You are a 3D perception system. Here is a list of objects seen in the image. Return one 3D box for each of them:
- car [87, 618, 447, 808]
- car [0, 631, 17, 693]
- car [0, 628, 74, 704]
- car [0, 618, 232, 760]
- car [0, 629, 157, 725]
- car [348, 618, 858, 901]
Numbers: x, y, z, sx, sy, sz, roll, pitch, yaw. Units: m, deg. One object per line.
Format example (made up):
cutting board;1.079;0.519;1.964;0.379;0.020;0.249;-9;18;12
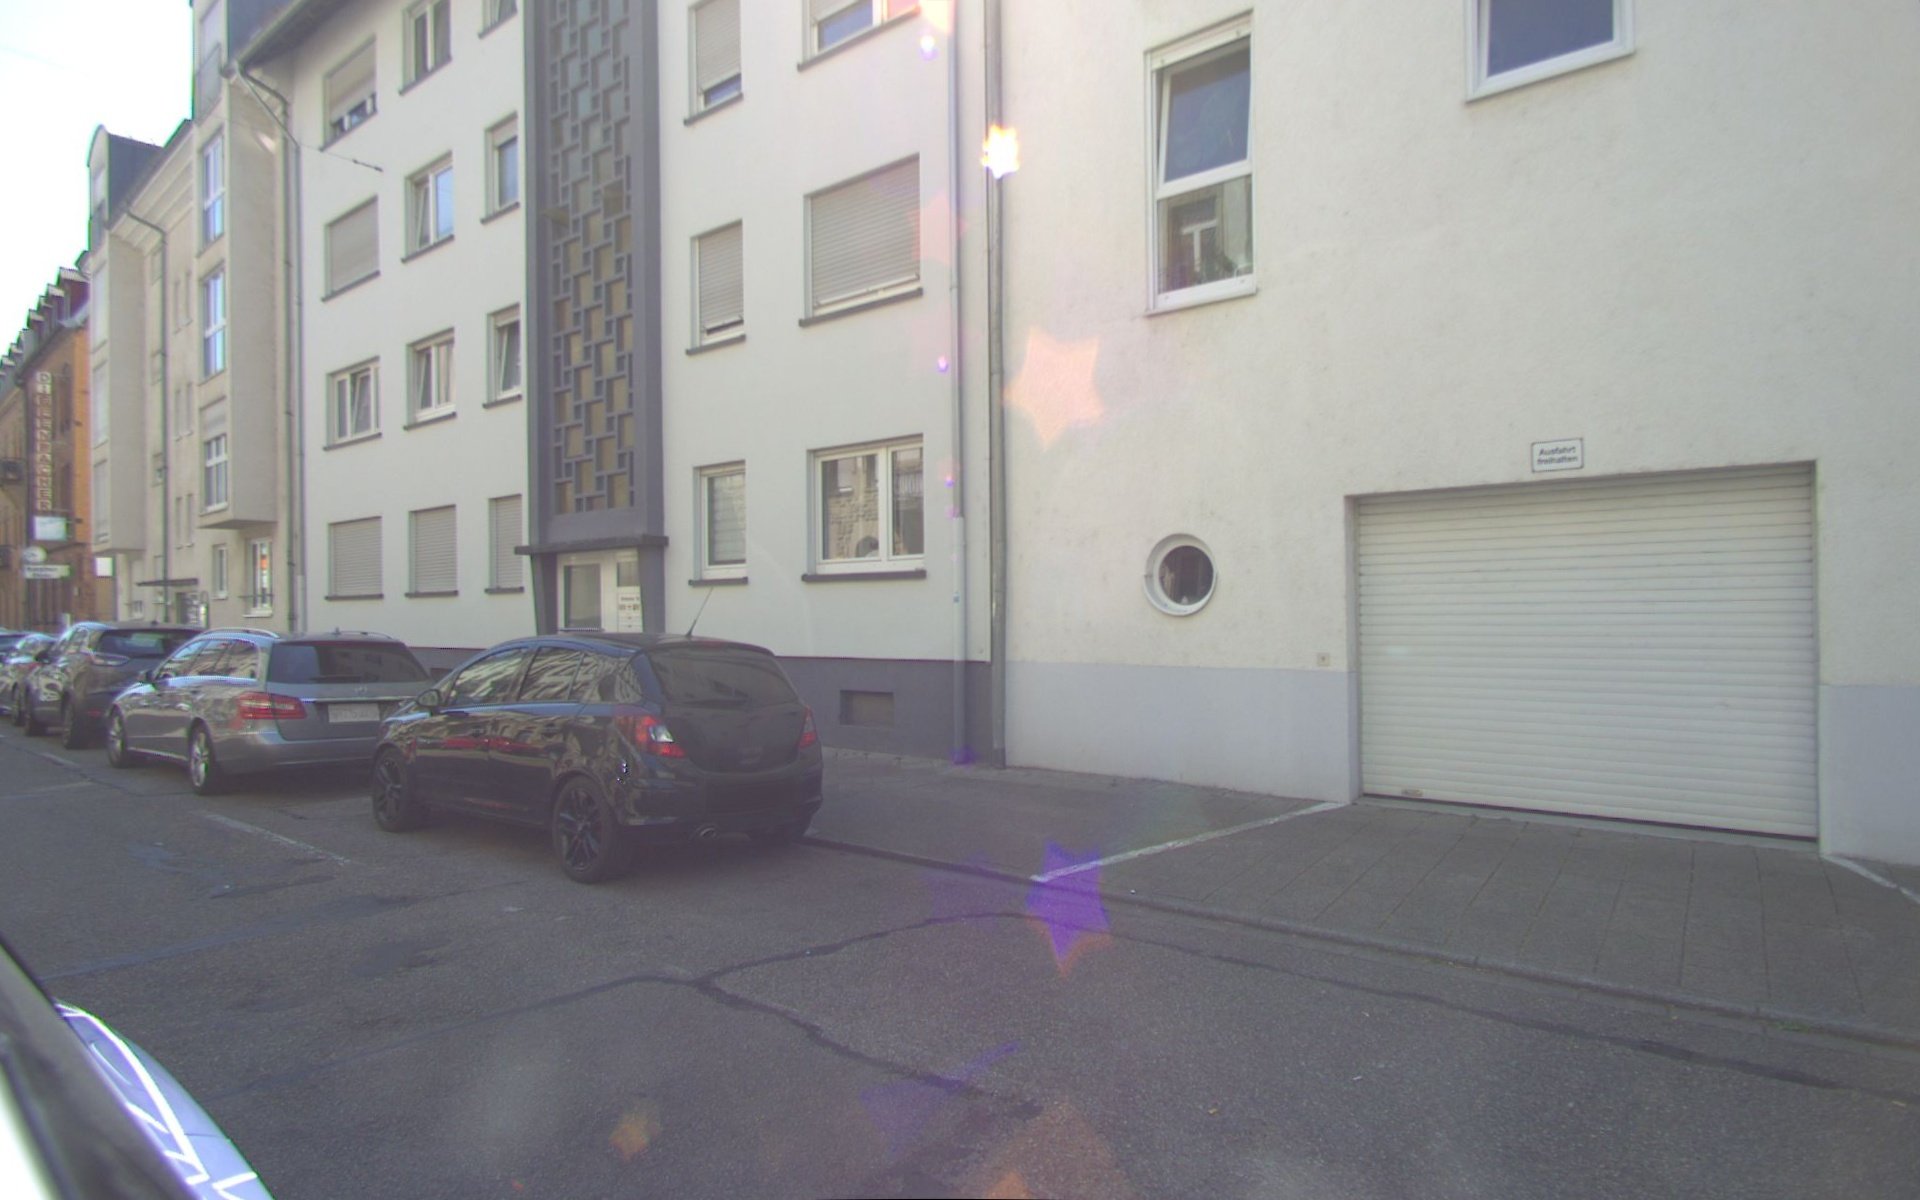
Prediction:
car;-7.183;0.973;10.301;4.664;1.530;1.641;-1;-3;38
car;-25.991;1.541;26.103;3.845;1.561;1.614;-1;-5;35
car;-20.620;1.344;21.595;4.342;1.506;1.714;-1;-3;38
car;-11.503;1.088;13.680;3.971;1.657;1.588;-1;-3;38
car;-15.310;1.208;17.074;4.342;1.404;1.748;-1;-3;38
car;-2.685;0.899;7.215;3.888;1.503;1.552;-1;-3;38
